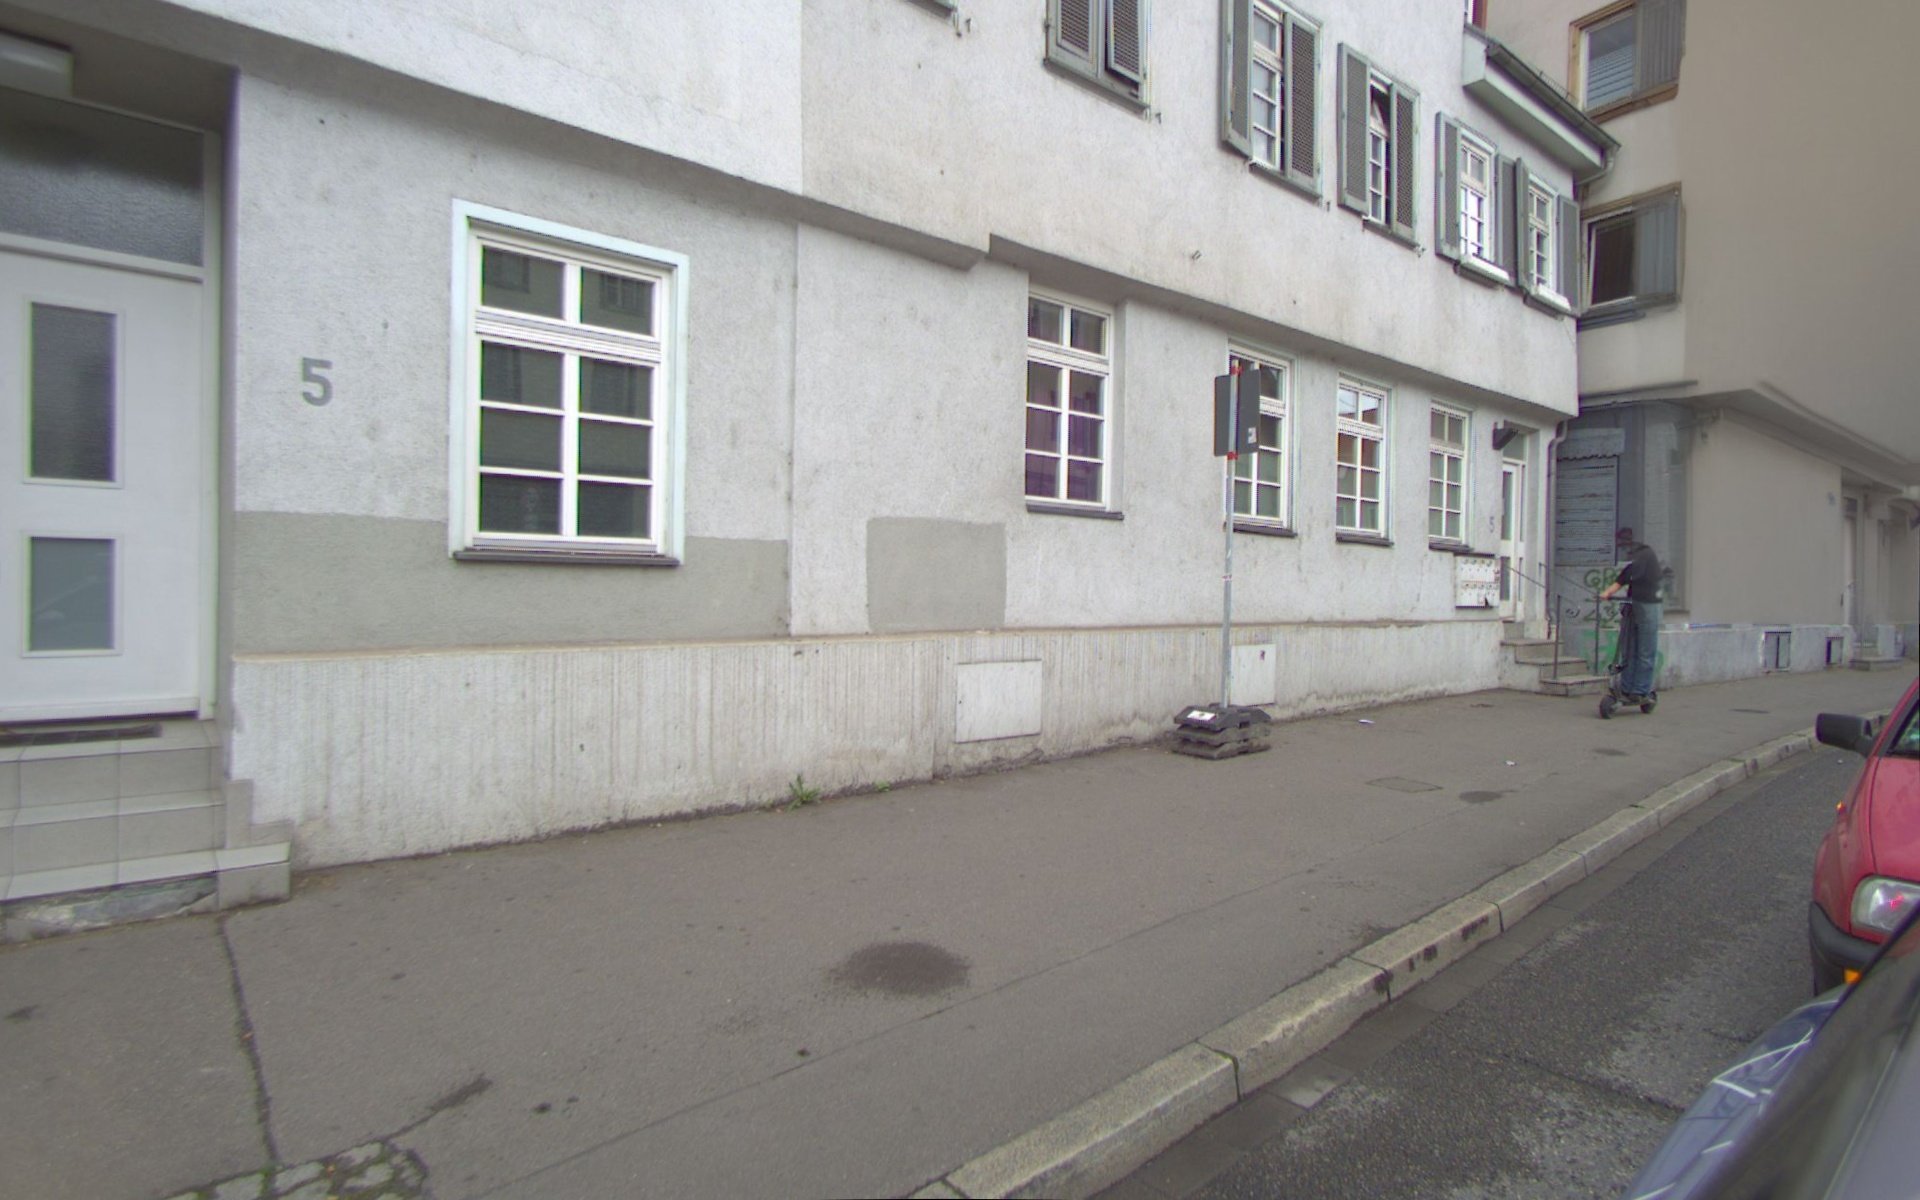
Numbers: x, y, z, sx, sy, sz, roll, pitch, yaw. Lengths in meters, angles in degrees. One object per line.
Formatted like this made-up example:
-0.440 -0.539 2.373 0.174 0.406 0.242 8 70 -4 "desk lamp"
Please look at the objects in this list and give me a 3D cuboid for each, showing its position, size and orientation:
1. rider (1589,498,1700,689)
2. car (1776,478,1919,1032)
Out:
7.050 -0.077 10.426 0.783 1.870 0.719 1 1 -41 "rider"
4.384 0.517 3.472 3.928 1.444 1.791 4 -2 -41 "car"
